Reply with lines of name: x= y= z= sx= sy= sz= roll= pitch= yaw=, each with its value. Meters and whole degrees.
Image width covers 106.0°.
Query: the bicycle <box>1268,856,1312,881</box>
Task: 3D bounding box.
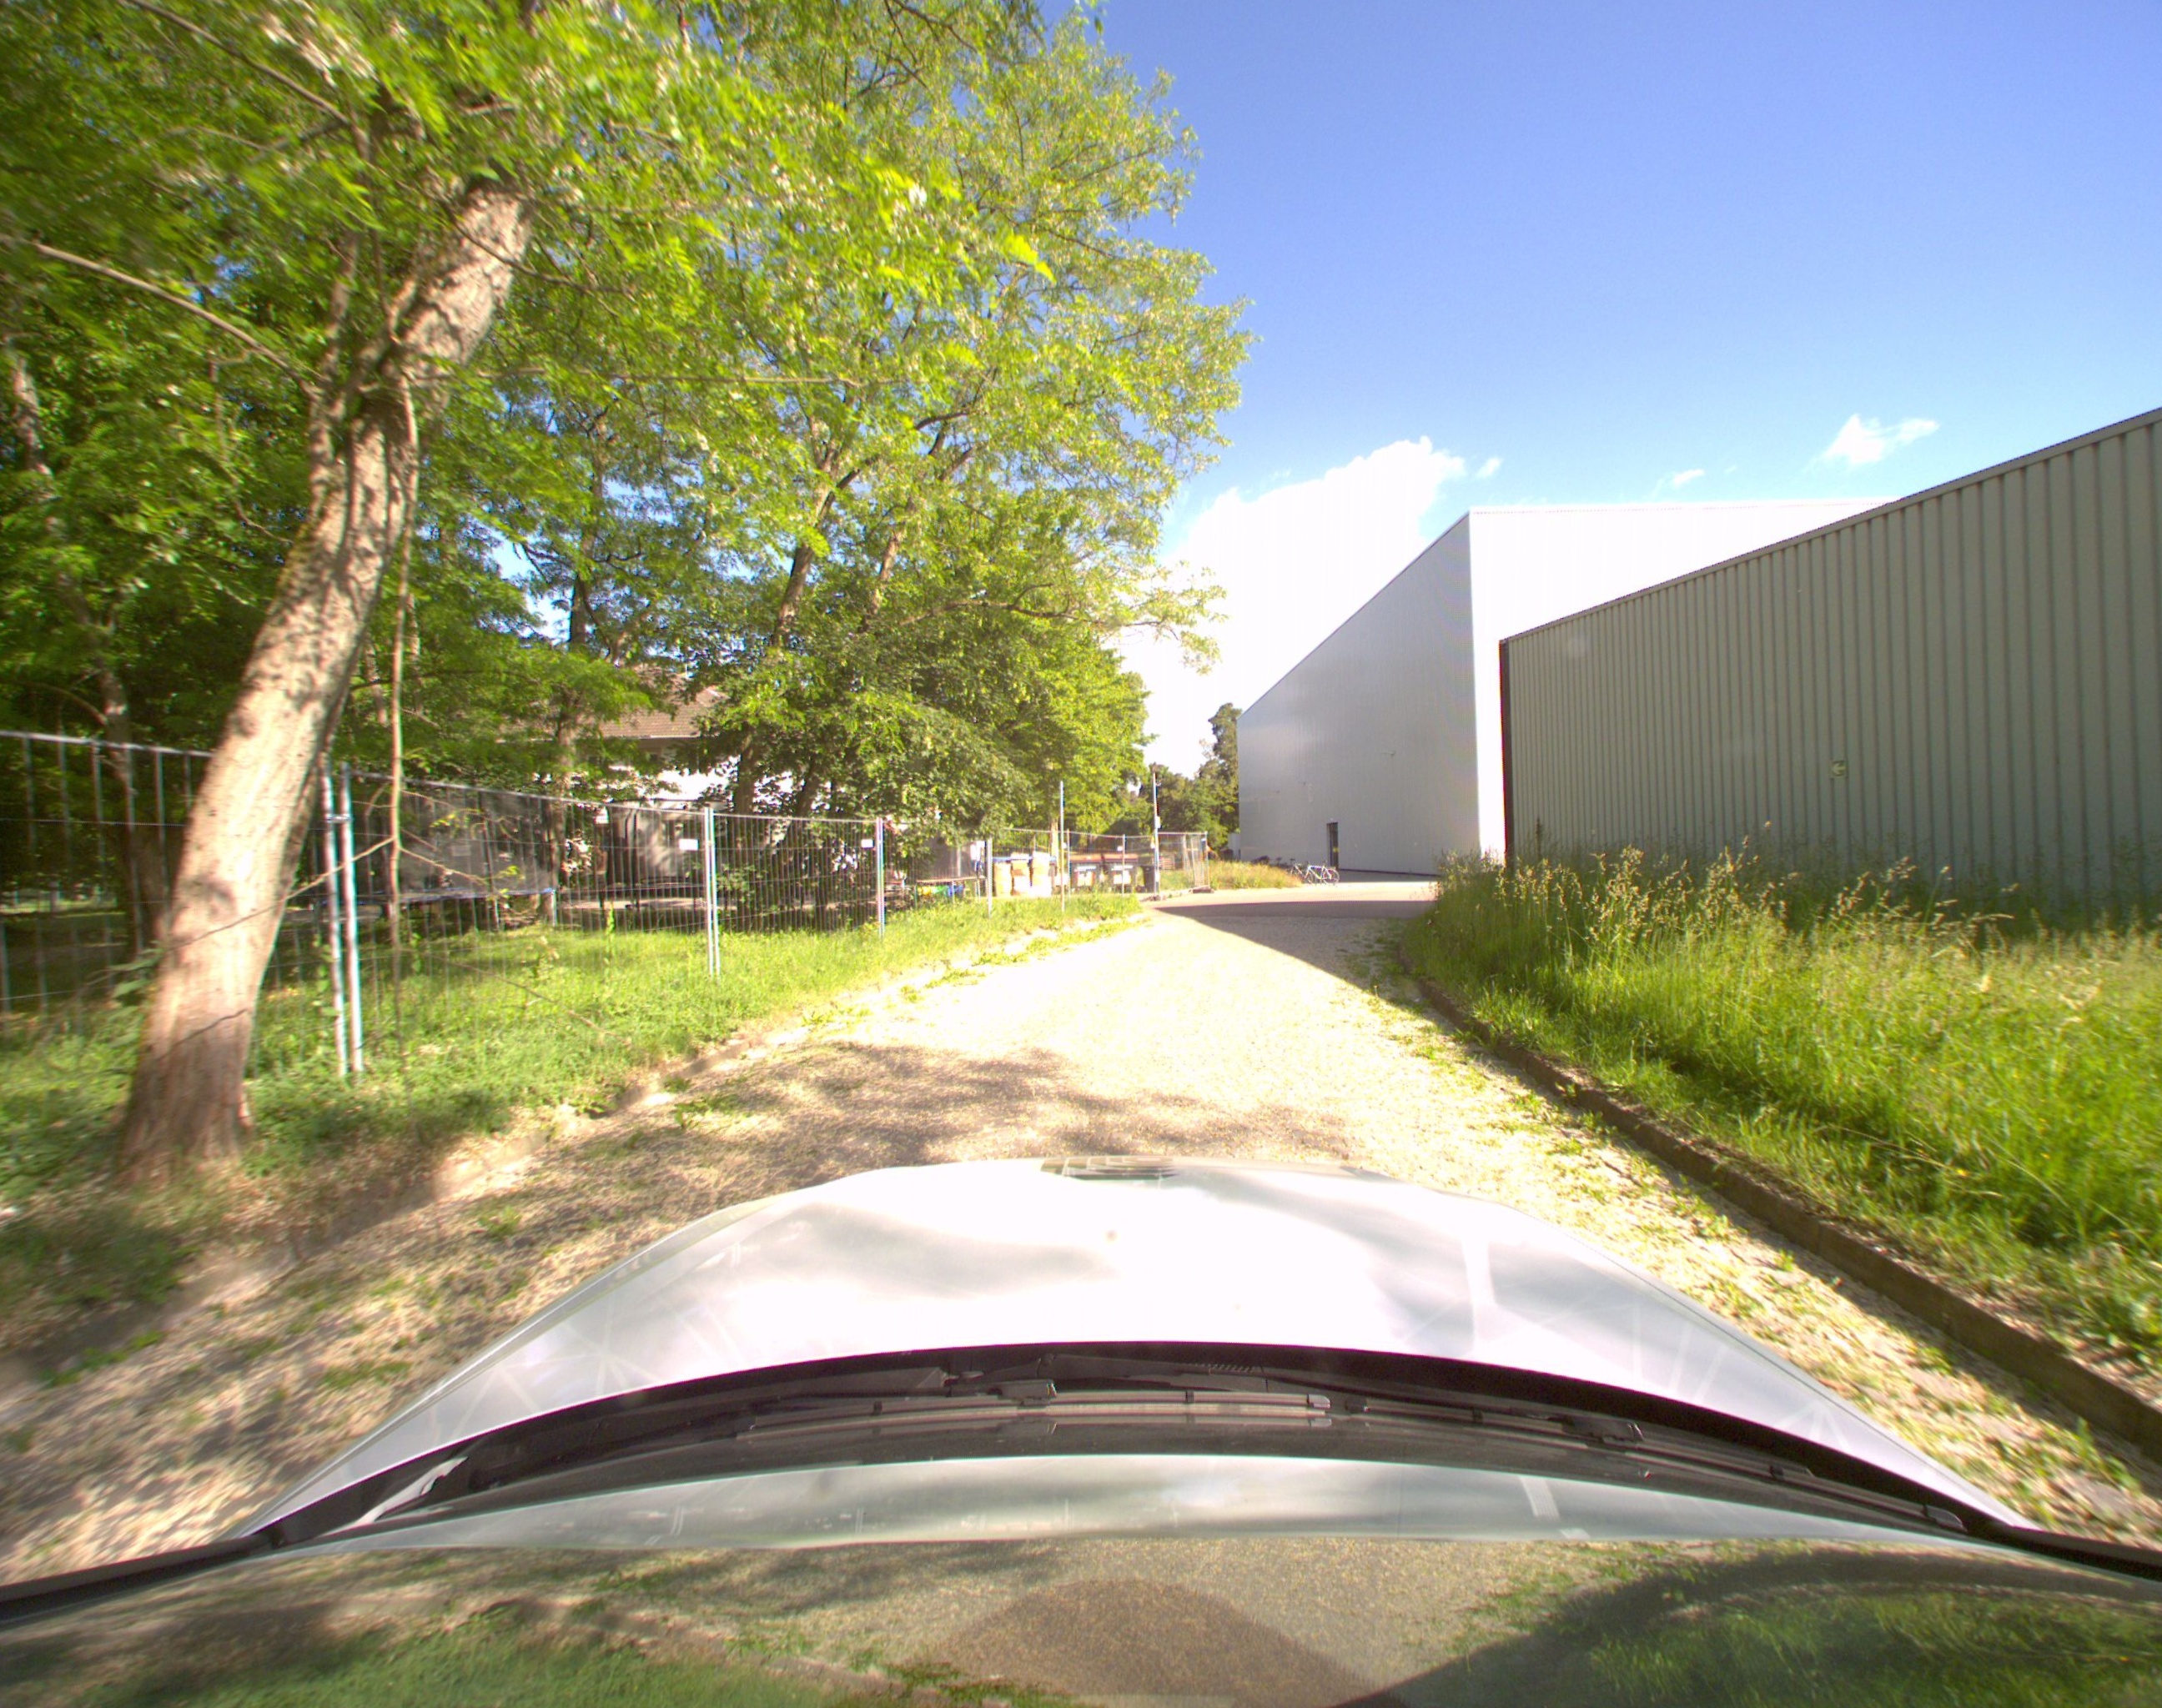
bicycle: x=9.729 y=0.690 z=37.963 sx=1.882 sy=1.095 sz=0.525 roll=-2 pitch=-1 yaw=-2

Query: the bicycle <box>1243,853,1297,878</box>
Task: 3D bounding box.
bicycle: x=10.085 y=0.600 z=43.590 sx=2.618 sy=1.266 sz=1.142 roll=-2 pitch=0 yaw=4

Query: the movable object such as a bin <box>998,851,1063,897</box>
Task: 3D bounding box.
movable object such as a bin: x=-1.858 y=0.709 z=29.633 sx=2.285 sy=1.591 sz=1.172 roll=-2 pitch=0 yaw=-6

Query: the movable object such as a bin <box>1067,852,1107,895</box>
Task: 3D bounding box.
movable object such as a bin: x=0.209 y=0.707 z=29.949 sx=1.336 sy=1.484 sz=0.805 roll=-2 pitch=0 yaw=-7

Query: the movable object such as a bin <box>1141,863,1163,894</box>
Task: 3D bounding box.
movable object such as a bin: x=2.601 y=0.886 z=29.874 sx=0.733 sy=1.097 sz=0.820 roll=-2 pitch=0 yaw=4

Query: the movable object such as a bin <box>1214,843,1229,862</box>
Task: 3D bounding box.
movable object such as a bin: x=15.429 y=-0.154 z=89.557 sx=1.412 sy=2.013 sz=1.126 roll=-2 pitch=0 yaw=4

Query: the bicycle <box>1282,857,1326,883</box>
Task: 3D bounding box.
bicycle: x=9.691 y=0.695 z=35.410 sx=1.785 sy=1.082 sz=0.525 roll=-2 pitch=0 yaw=1

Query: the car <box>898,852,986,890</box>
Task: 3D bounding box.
car: x=-7.932 y=0.967 z=46.778 sx=4.701 sy=1.902 sz=1.997 roll=-3 pitch=-1 yaw=-5

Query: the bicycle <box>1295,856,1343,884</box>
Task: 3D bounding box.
bicycle: x=9.580 y=0.647 z=32.839 sx=1.796 sy=1.062 sz=0.458 roll=-2 pitch=0 yaw=-5

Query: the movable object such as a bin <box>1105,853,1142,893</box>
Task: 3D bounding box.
movable object such as a bin: x=1.544 y=0.695 z=30.000 sx=1.243 sy=1.444 sz=0.701 roll=-2 pitch=0 yaw=-6
